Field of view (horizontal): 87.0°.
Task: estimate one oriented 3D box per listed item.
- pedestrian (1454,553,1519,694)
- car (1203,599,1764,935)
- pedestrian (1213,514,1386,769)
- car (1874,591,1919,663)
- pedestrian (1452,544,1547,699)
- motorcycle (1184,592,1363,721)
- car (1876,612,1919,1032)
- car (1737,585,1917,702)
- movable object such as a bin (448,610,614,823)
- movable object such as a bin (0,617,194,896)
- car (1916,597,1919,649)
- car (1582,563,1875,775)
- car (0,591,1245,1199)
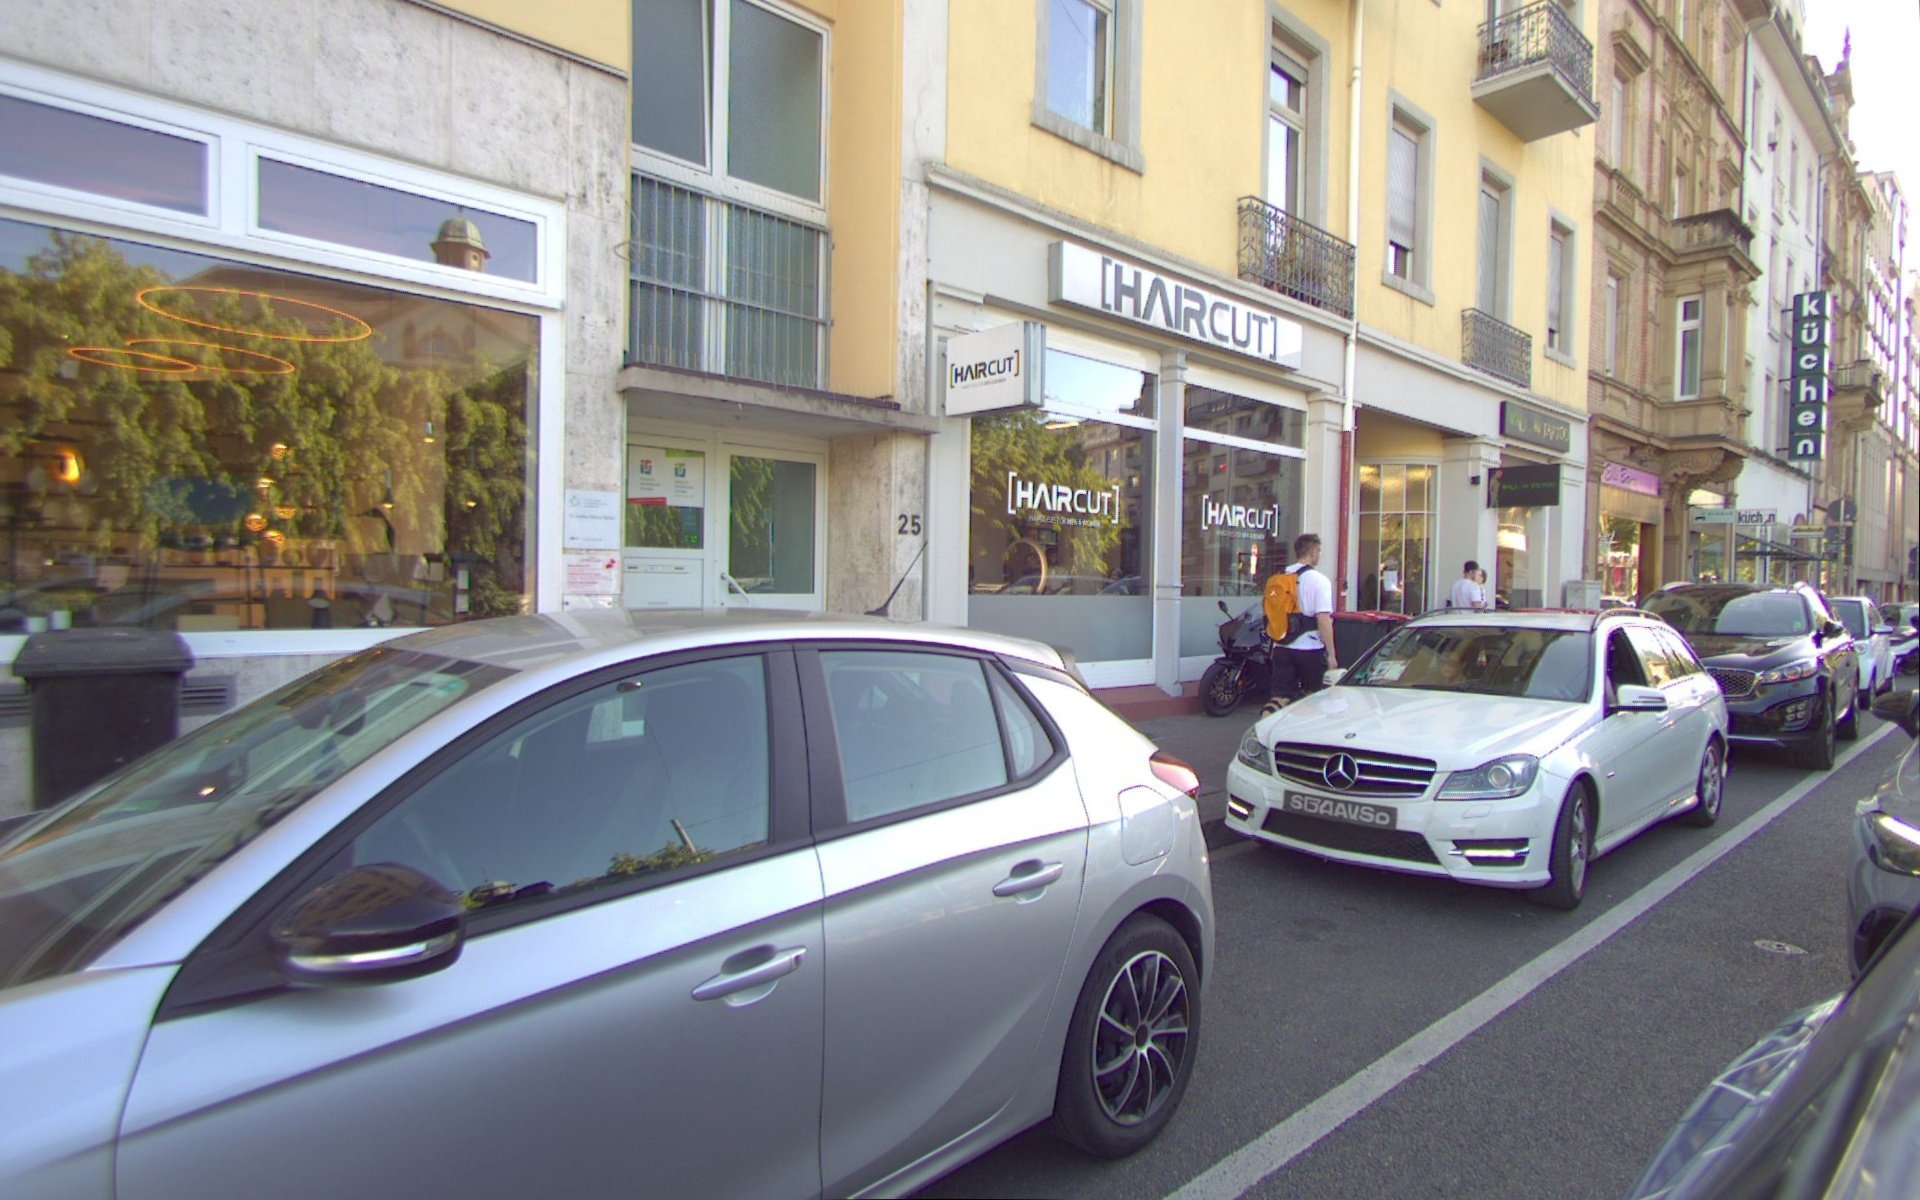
[{"bbox_3d":[7.219,0.305,13.865,0.627,1.859,0.760,0,0,41],"label":"pedestrian"},{"bbox_3d":[3.513,0.712,6.378,4.301,1.389,1.671,-1,0,-41],"label":"car"},{"bbox_3d":[2.644,0.272,7.899,0.964,1.845,0.811,0,3,-37],"label":"pedestrian"},{"bbox_3d":[21.877,0.570,22.800,3.736,1.509,1.691,-1,0,-45],"label":"car"},{"bbox_3d":[6.825,0.259,12.842,0.961,1.900,0.532,0,0,18],"label":"pedestrian"},{"bbox_3d":[3.281,0.527,10.495,2.073,1.144,0.735,-1,5,-41],"label":"motorcycle"},{"bbox_3d":[5.377,0.753,4.367,4.397,1.385,1.767,-1,1,-43],"label":"car"},{"bbox_3d":[12.750,0.551,14.844,2.945,1.542,1.582,-1,0,-41],"label":"car"},{"bbox_3d":[-2.347,0.585,5.527,0.639,1.036,0.737,0,0,-41],"label":"movable object such as a bin"},{"bbox_3d":[-3.694,0.603,4.314,0.639,1.036,0.737,0,0,-41],"label":"movable object such as a bin"},{"bbox_3d":[26.588,0.579,26.919,3.306,1.334,1.459,-1,0,-42],"label":"car"},{"bbox_3d":[7.989,0.534,10.357,4.338,1.711,1.802,-1,0,-45],"label":"car"},{"bbox_3d":[-1.026,0.719,2.298,3.625,1.455,1.585,-1,0,-43],"label":"car"}]
